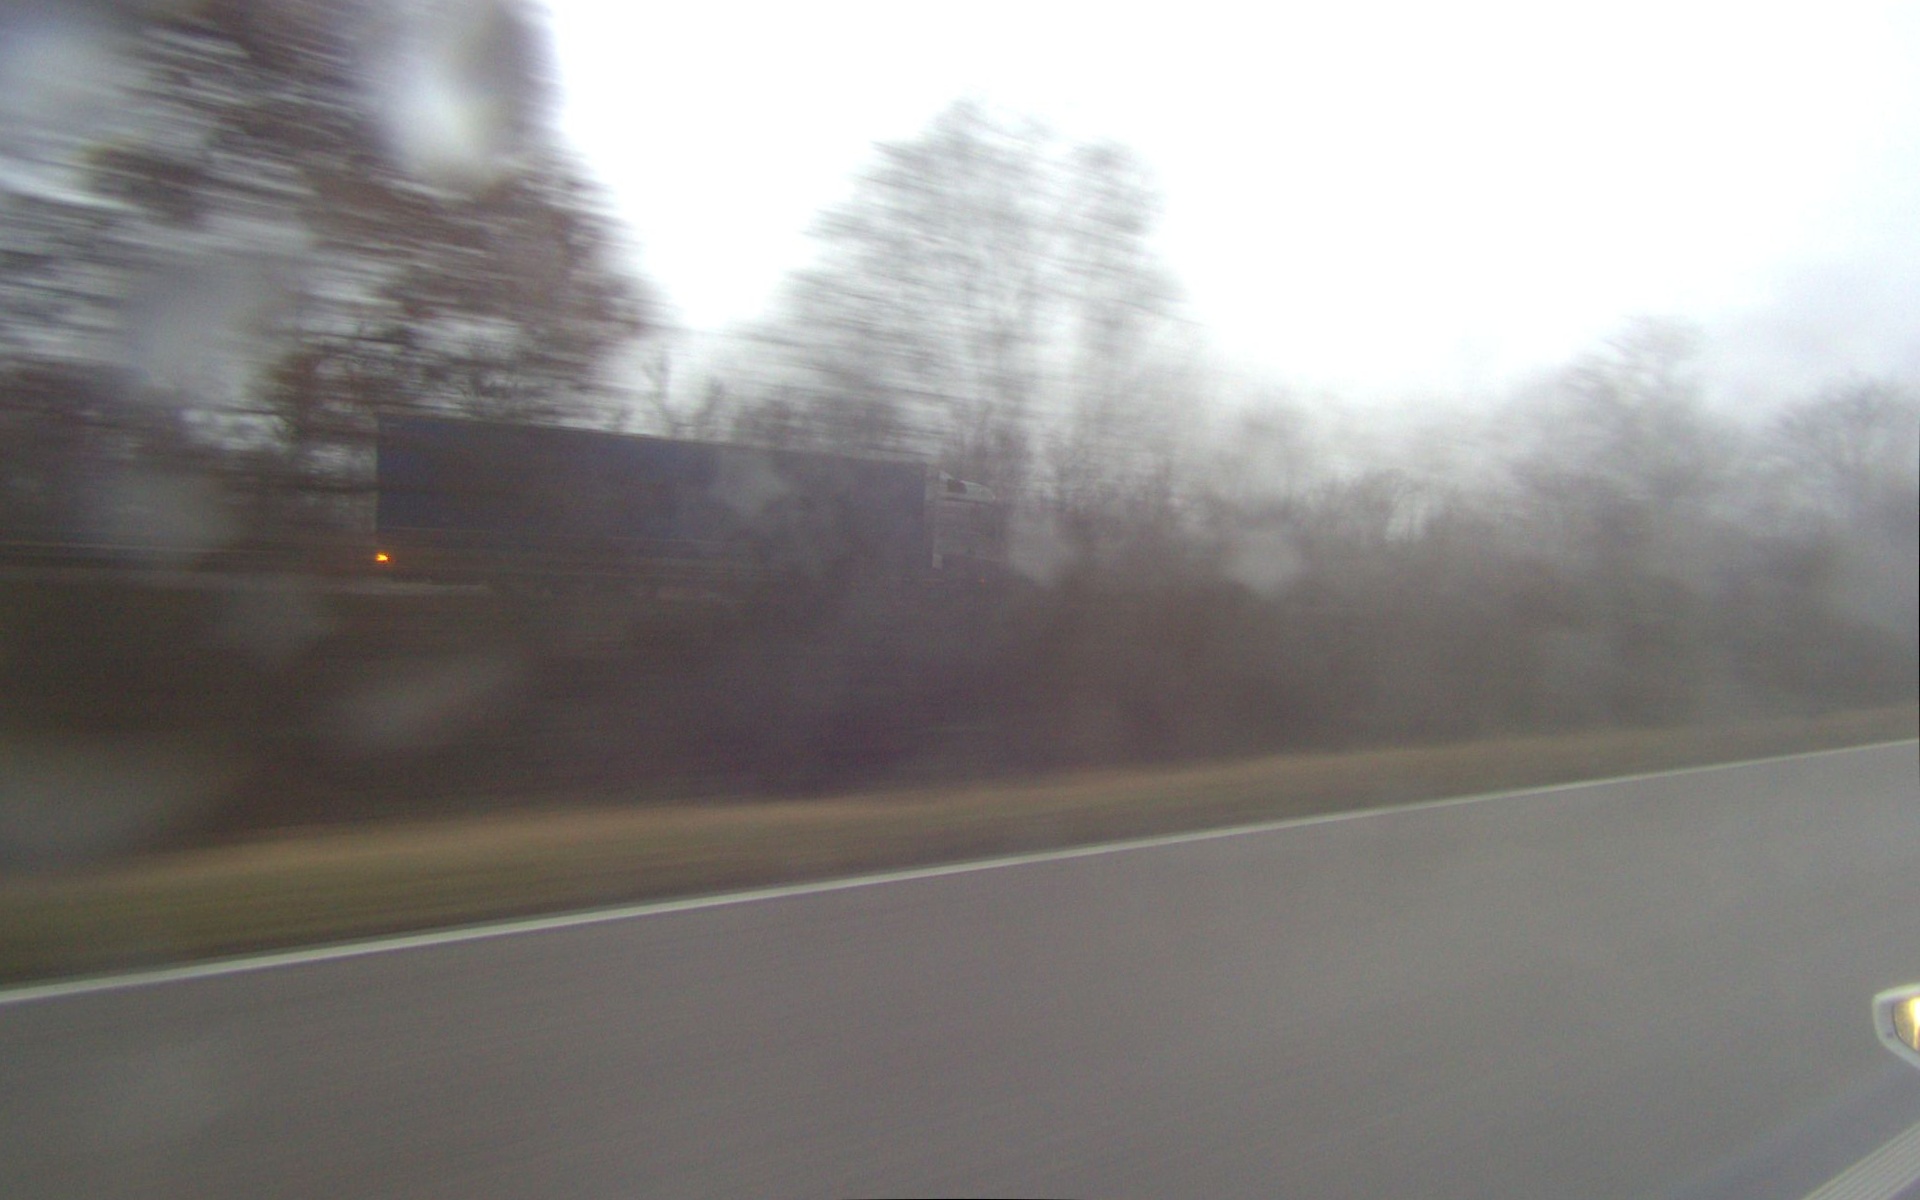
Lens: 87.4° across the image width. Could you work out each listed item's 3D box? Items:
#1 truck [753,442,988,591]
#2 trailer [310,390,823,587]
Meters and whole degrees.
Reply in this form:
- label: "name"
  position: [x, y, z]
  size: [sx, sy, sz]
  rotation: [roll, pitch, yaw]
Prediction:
- label: "truck"
  position: [-2.527, -2.181, 28.747]
  size: [5.997, 3.680, 2.977]
  rotation: [1, -1, -31]
- label: "trailer"
  position: [-9.179, -2.324, 24.723]
  size: [11.256, 3.682, 2.983]
  rotation: [1, -1, -31]
